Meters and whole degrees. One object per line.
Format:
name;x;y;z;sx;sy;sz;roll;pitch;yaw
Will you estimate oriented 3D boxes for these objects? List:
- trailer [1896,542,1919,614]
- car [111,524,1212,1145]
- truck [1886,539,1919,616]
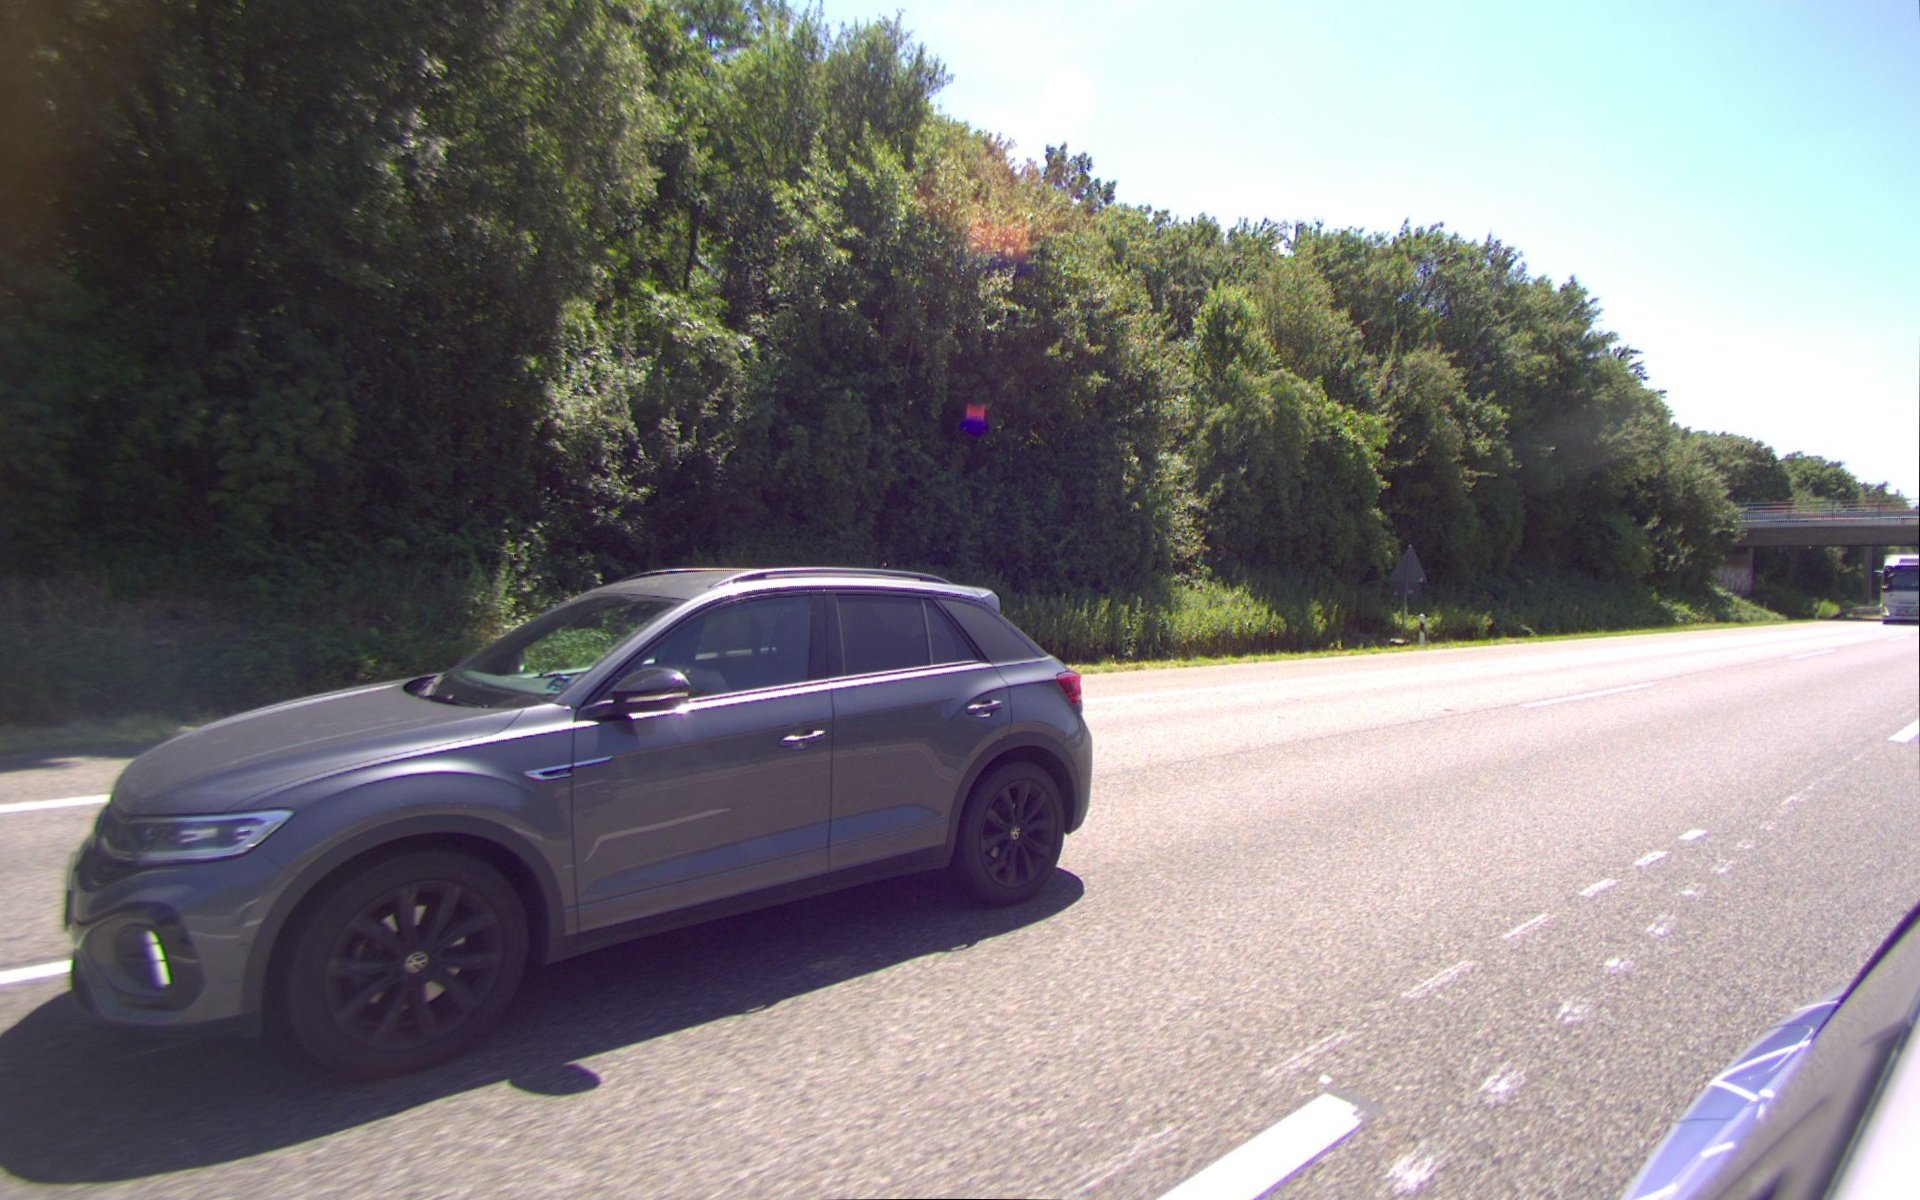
trailer;61.918;-1.293;63.780;13.596;4.278;3.044;0;0;-42
car;-0.957;0.571;4.815;4.678;1.551;1.902;0;1;-42
truck;55.815;-1.270;58.328;5.944;4.268;3.052;0;0;-42
